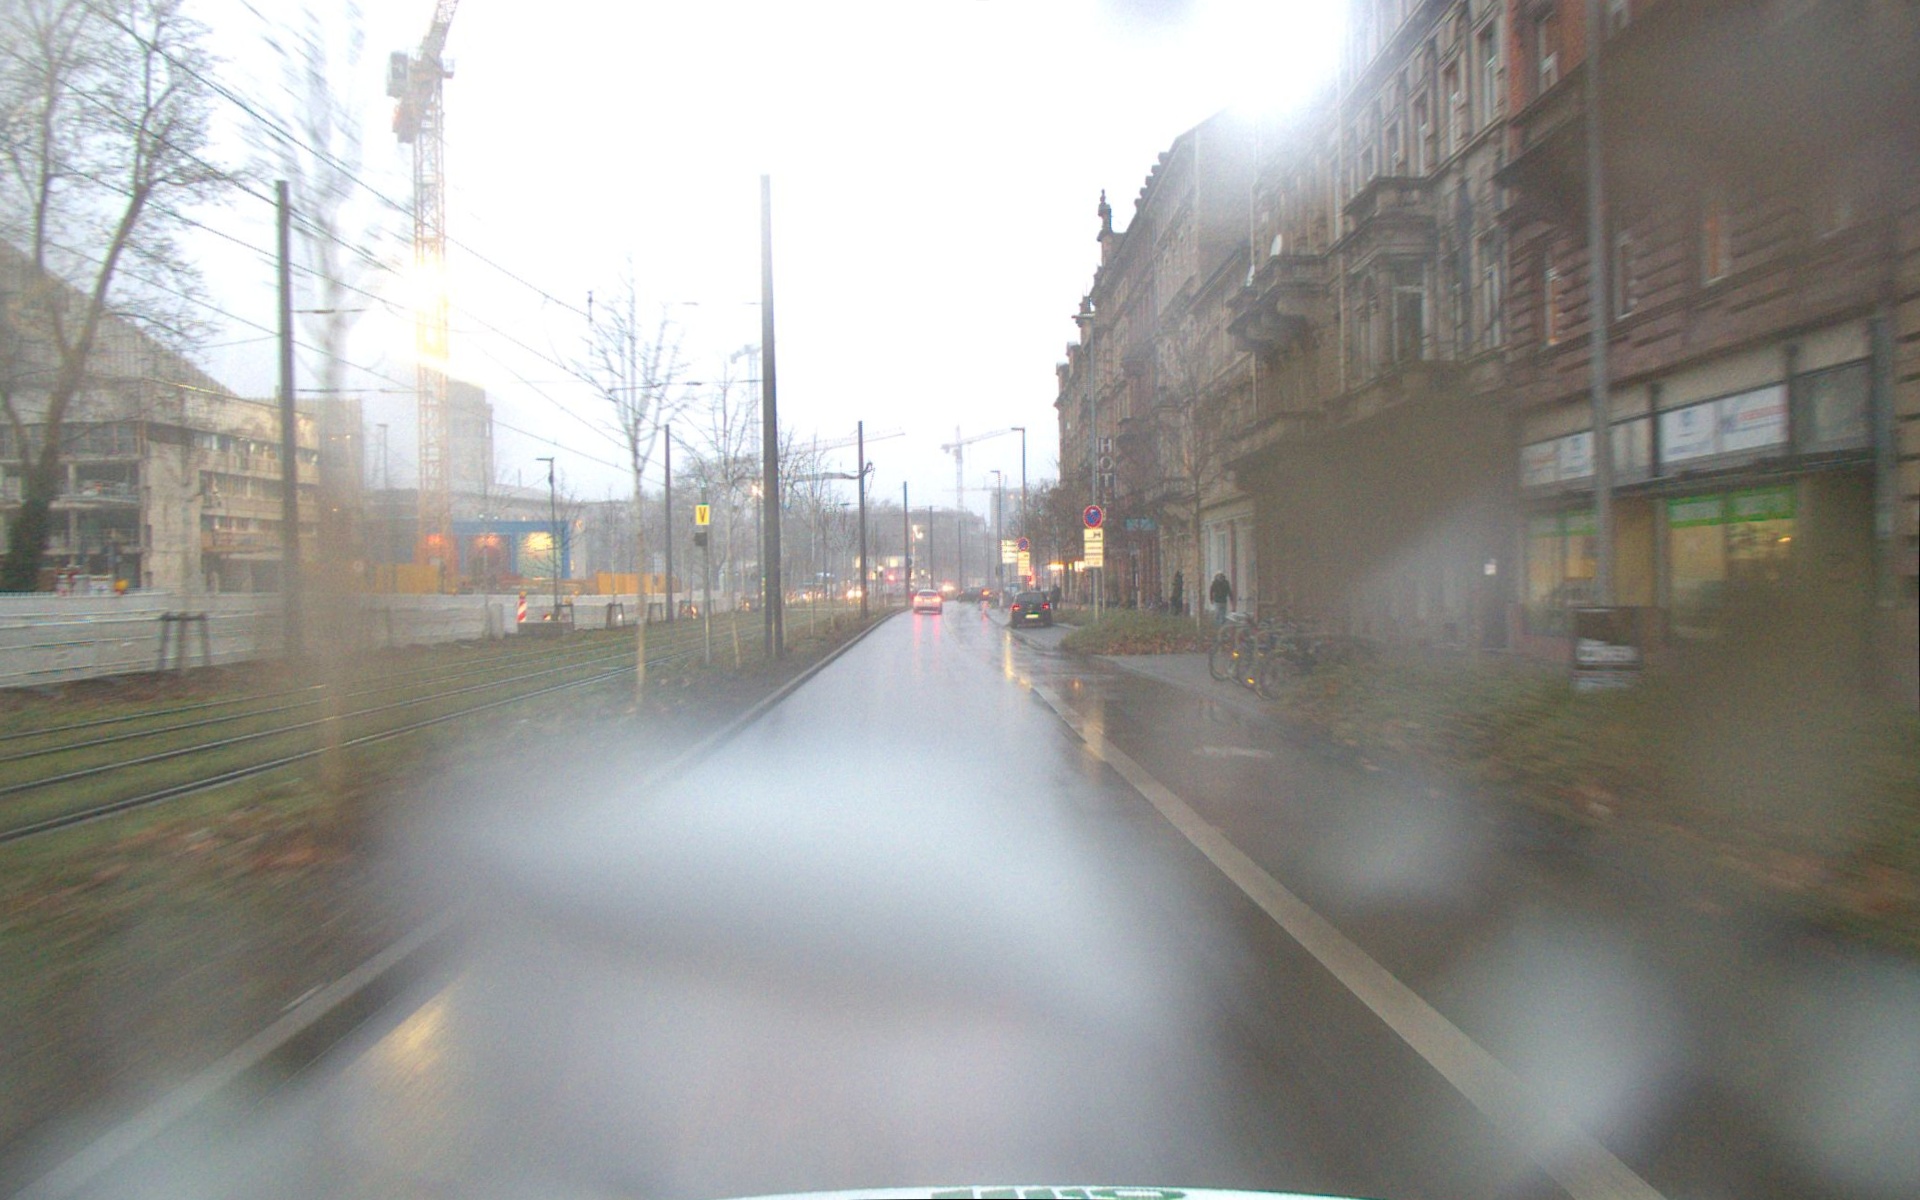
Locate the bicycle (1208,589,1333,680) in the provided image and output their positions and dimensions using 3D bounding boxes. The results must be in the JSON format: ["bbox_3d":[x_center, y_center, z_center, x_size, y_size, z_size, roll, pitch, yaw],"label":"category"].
[{"bbox_3d":[4.746,0.521,25.315,1.814,1.312,0.415,-2,0,-4],"label":"bicycle"}]

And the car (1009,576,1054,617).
[{"bbox_3d":[2.988,-0.180,69.315,1.762,1.632,3.770,-2,1,1],"label":"car"}]

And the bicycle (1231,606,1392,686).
[{"bbox_3d":[5.105,0.662,24.057,2.204,1.076,0.525,-2,0,-4],"label":"bicycle"}]

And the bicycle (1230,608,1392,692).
[{"bbox_3d":[4.831,0.676,22.799,2.106,1.076,0.525,-2,0,-7],"label":"bicycle"}]

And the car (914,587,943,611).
[{"bbox_3d":[-2.041,-0.073,106.495,1.747,1.492,3.149,-1,1,0],"label":"car"}]

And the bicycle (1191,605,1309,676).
[{"bbox_3d":[4.712,0.652,26.917,1.814,1.077,0.471,-2,0,-4],"label":"bicycle"}]

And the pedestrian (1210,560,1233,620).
[{"bbox_3d":[7.996,-0.297,50.564,0.590,1.817,0.528,-1,0,-1],"label":"pedestrian"}]
